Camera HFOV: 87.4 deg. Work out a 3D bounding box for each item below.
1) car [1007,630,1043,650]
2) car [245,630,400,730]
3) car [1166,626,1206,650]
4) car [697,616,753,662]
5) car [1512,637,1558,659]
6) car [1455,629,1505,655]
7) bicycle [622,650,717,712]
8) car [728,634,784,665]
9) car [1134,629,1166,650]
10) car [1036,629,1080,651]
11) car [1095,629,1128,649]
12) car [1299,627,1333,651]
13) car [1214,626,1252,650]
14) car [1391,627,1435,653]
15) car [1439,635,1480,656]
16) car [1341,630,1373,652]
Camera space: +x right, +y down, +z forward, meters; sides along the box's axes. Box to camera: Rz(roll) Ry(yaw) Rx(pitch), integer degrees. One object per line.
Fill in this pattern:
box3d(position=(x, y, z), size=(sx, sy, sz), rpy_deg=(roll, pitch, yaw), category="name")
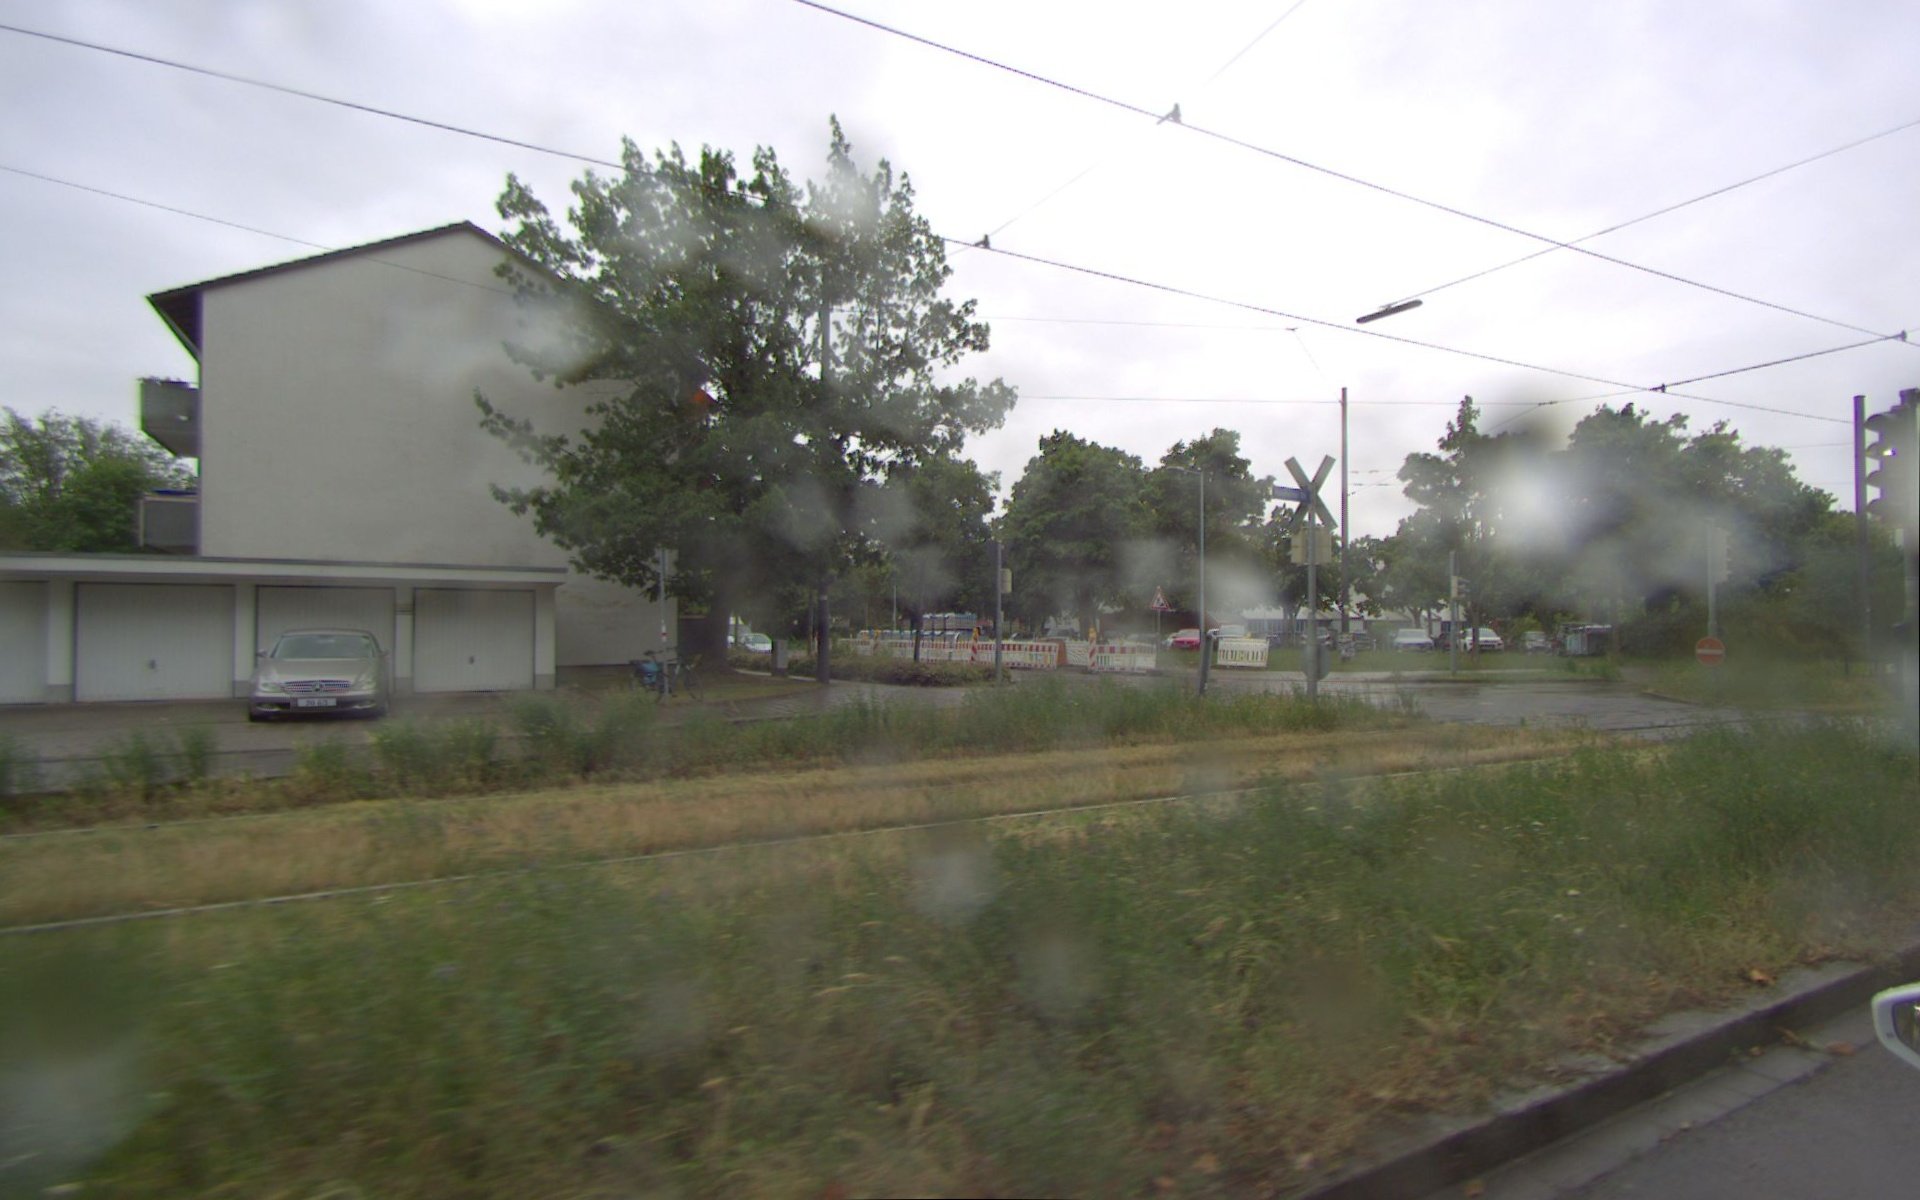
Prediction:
box3d(position=(4.608, 2.828, 70.667), size=(1.632, 1.342, 3.744), rpy_deg=(-1, -2, 18), category="car")
box3d(position=(-10.678, 1.234, 17.124), size=(1.825, 1.383, 4.707), rpy_deg=(1, -1, -28), category="car")
box3d(position=(12.519, 2.121, 55.514), size=(1.633, 1.265, 3.742), rpy_deg=(-1, -2, 21), category="car")
box3d(position=(-13.264, 2.199, 56.564), size=(1.895, 2.478, 4.435), rpy_deg=(1, -2, -30), category="car")
box3d(position=(34.150, 2.850, 59.697), size=(1.632, 1.265, 3.744), rpy_deg=(-1, -2, 18), category="car")
box3d(position=(26.003, 2.091, 50.357), size=(1.632, 1.265, 3.744), rpy_deg=(-1, -2, 18), category="car")
box3d(position=(-5.510, 1.517, 19.170), size=(0.474, 1.033, 1.836), rpy_deg=(3, 1, 35), category="bicycle")
box3d(position=(-10.421, 2.504, 51.126), size=(1.732, 1.550, 3.600), rpy_deg=(1, -2, -30), category="car")
box3d(position=(12.780, 2.636, 67.462), size=(1.632, 1.342, 3.744), rpy_deg=(-1, -2, 18), category="car")
box3d(position=(5.730, 2.327, 58.508), size=(1.633, 1.265, 3.742), rpy_deg=(-1, -2, 21), category="car")
box3d(position=(10.420, 2.686, 69.013), size=(1.632, 1.342, 3.744), rpy_deg=(-1, -2, 18), category="car")
box3d(position=(19.050, 2.097, 53.692), size=(1.633, 1.265, 3.742), rpy_deg=(-1, -2, 21), category="car")
box3d(position=(14.818, 2.079, 54.401), size=(1.633, 1.265, 3.742), rpy_deg=(-1, -2, 21), category="car")
box3d(position=(22.927, 2.018, 50.959), size=(1.632, 1.265, 3.744), rpy_deg=(-1, -2, 18), category="car")
box3d(position=(30.064, 2.734, 60.537), size=(1.632, 1.265, 3.744), rpy_deg=(-1, -2, 18), category="car")
box3d(position=(24.784, 2.581, 62.824), size=(1.632, 1.342, 3.744), rpy_deg=(-1, -2, 18), category="car")
